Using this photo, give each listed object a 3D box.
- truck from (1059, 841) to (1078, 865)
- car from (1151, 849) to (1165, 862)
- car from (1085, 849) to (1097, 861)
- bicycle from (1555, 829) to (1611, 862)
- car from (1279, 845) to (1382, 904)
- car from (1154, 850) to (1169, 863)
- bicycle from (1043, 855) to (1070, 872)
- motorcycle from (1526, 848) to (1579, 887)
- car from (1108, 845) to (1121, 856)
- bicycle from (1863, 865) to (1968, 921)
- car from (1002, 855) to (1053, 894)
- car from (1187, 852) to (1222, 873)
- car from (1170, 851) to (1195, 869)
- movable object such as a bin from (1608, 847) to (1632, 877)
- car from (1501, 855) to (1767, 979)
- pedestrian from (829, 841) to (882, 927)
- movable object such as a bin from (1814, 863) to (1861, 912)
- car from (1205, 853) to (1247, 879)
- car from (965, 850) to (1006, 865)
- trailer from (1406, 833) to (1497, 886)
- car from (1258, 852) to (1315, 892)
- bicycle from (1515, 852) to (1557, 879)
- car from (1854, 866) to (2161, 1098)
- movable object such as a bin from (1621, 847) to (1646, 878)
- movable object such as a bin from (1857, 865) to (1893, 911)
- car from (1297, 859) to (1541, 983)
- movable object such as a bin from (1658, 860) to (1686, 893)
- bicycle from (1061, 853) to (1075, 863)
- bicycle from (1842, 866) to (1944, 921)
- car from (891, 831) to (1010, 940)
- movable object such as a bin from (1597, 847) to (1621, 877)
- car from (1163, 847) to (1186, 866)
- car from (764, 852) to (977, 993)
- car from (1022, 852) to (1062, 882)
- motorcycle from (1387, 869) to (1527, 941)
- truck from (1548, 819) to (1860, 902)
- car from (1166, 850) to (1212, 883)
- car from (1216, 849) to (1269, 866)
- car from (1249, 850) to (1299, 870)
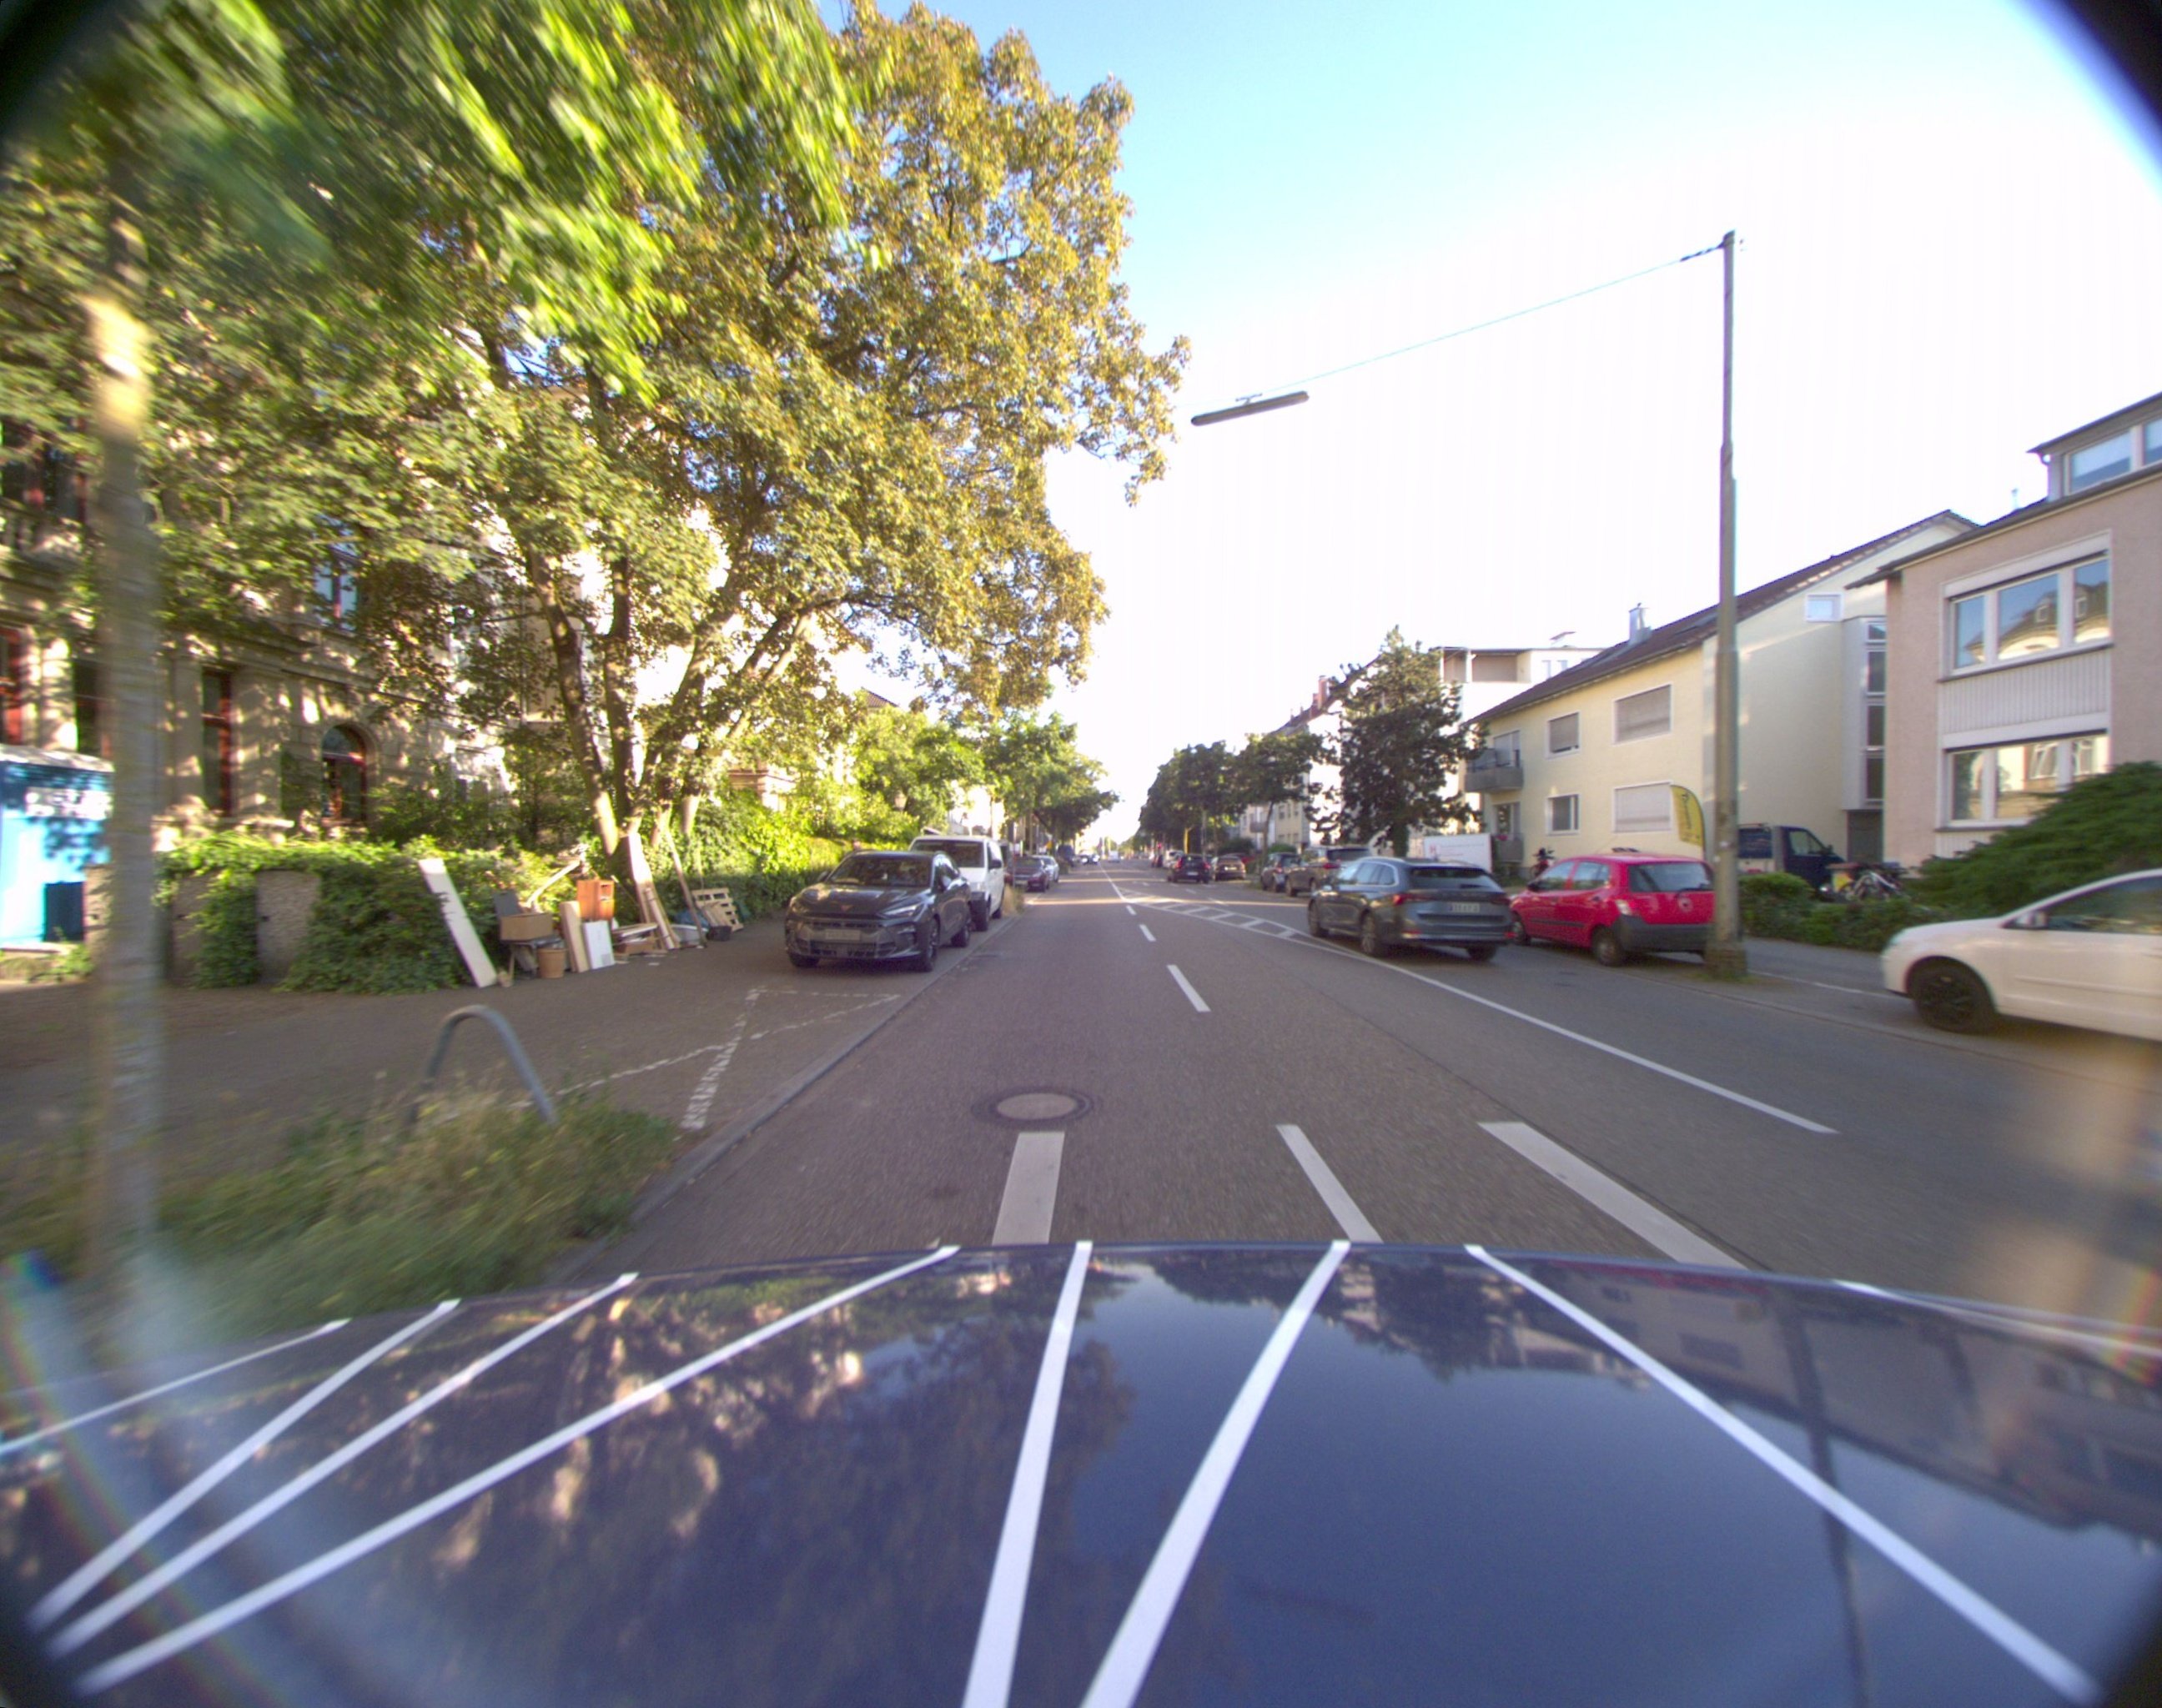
[{"bbox_3d":[-1.421,-0.125,87.046,1.998,2.629,5.615,0,0,1],"label":"truck"},{"bbox_3d":[9.062,0.184,89.596,1.407,1.456,3.682,-2,1,2],"label":"car"},{"bbox_3d":[1.302,0.114,102.464,1.596,1.696,4.000,0,0,1],"label":"car"},{"bbox_3d":[18.276,-0.298,27.716,0.572,1.134,2.258,-1,0,1],"label":"bicycle"},{"bbox_3d":[8.234,0.608,25.528,1.892,1.769,4.725,0,0,0],"label":"car"},{"bbox_3d":[8.887,0.228,84.379,1.407,1.397,3.683,0,0,2],"label":"car"},{"bbox_3d":[-1.828,0.703,56.852,1.894,1.155,0.616,2,2,28],"label":"bicycle"},{"bbox_3d":[17.327,0.472,27.978,0.572,1.366,2.258,0,1,1],"label":"motorcycle"},{"bbox_3d":[5.460,-0.609,124.408,1.893,1.793,4.430,1,0,-1],"label":"car"},{"bbox_3d":[17.510,0.797,15.999,0.333,1.080,1.711,0,1,1],"label":"bicycle"},{"bbox_3d":[-2.178,0.812,32.121,1.761,1.412,4.614,2,0,0],"label":"car"},{"bbox_3d":[8.811,0.579,54.618,1.862,1.477,3.999,0,0,0],"label":"car"},{"bbox_3d":[8.972,0.510,67.425,1.740,1.455,3.636,0,0,1],"label":"car"},{"bbox_3d":[18.326,0.276,25.833,0.504,1.013,0.450,0,1,0],"label":"movable object such as a bin"},{"bbox_3d":[7.875,0.795,11.250,1.596,1.514,3.437,0,0,4],"label":"car"},{"bbox_3d":[-4.772,0.606,16.150,0.823,1.763,1.089,0,1,-3],"label":"pedestrian"},{"bbox_3d":[17.336,0.765,17.429,0.490,1.084,0.586,0,1,1],"label":"movable object such as a bin"},{"bbox_3d":[8.305,0.668,43.827,1.641,1.399,4.444,0,0,0],"label":"car"},{"bbox_3d":[-9.306,0.342,73.965,3.878,1.496,1.575,0,1,-4],"label":"car"},{"bbox_3d":[14.309,0.206,29.452,2.780,2.002,1.552,0,1,-1],"label":"trailer"},{"bbox_3d":[8.372,0.710,31.125,1.577,1.546,2.749,0,1,0],"label":"car"},{"bbox_3d":[18.735,0.453,31.322,0.520,1.057,2.046,0,1,0],"label":"bicycle"},{"bbox_3d":[8.110,0.889,5.230,1.597,1.514,3.890,0,0,0],"label":"car"},{"bbox_3d":[18.367,0.276,25.250,0.504,1.013,0.450,0,1,0],"label":"movable object such as a bin"},{"bbox_3d":[18.048,0.768,17.266,0.436,1.032,0.349,0,1,0],"label":"movable object such as a bin"},{"bbox_3d":[4.868,0.850,11.758,1.765,1.443,4.533,2,0,1],"label":"car"},{"bbox_3d":[18.306,0.698,23.534,0.504,1.013,0.450,0,1,0],"label":"movable object such as a bin"},{"bbox_3d":[-1.452,0.436,83.475,1.469,1.058,0.445,0,1,1],"label":"bicycle"},{"bbox_3d":[17.150,0.809,16.105,0.333,1.080,1.711,0,1,1],"label":"bicycle"},{"bbox_3d":[-2.732,0.593,16.990,1.908,2.091,4.640,0,0,-1],"label":"car"},{"bbox_3d":[18.304,0.274,26.357,0.504,1.013,0.450,0,1,0],"label":"movable object such as a bin"},{"bbox_3d":[9.093,0.231,74.305,1.740,1.799,4.191,0,0,1],"label":"car"},{"bbox_3d":[-2.801,0.813,11.203,1.860,1.594,4.311,2,0,1],"label":"car"},{"bbox_3d":[-2.062,0.670,41.019,1.825,1.469,4.621,0,0,1],"label":"car"},{"bbox_3d":[7.581,0.979,15.482,1.184,1.259,2.365,0,1,-23],"label":"motorcycle"},{"bbox_3d":[17.388,0.169,21.509,6.911,2.172,2.276,0,1,1],"label":"truck"},{"bbox_3d":[5.641,0.611,40.152,1.840,1.561,3.999,2,1,1],"label":"car"},{"bbox_3d":[15.431,0.343,72.546,4.563,1.397,1.739,-2,1,-9],"label":"car"},{"bbox_3d":[14.779,0.459,58.356,3.467,1.515,1.686,0,0,2],"label":"car"}]
